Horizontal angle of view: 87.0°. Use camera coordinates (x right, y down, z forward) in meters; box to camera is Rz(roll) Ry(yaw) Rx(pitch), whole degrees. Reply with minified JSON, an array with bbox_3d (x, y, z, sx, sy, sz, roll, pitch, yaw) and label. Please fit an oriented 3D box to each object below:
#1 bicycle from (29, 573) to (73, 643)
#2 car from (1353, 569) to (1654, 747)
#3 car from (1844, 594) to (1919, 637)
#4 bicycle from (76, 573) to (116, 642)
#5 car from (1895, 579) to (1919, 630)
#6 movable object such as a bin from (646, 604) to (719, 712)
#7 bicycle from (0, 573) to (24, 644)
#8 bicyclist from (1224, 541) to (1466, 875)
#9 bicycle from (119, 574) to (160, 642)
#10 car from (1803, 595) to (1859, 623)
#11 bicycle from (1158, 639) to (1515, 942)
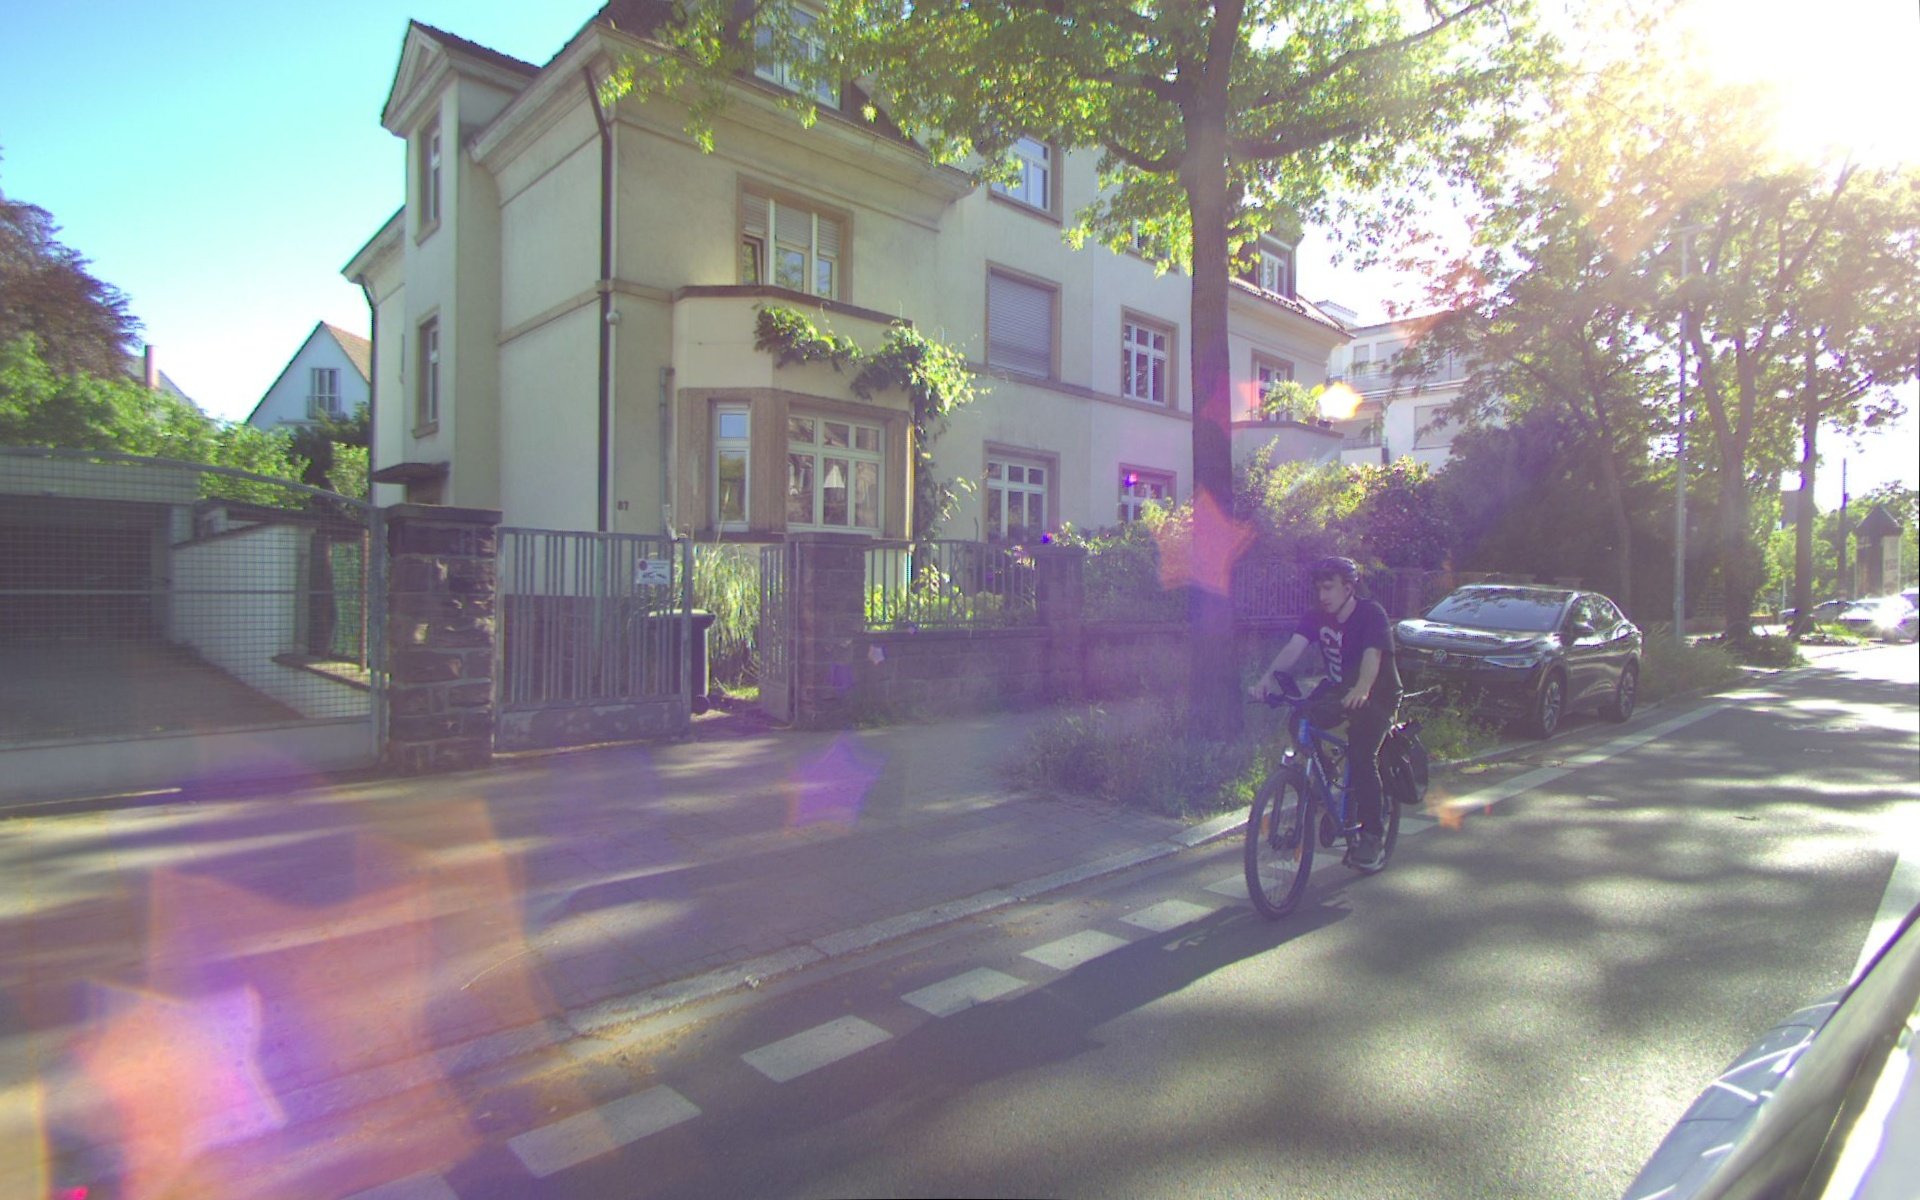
[{"bbox_3d":[-15.275,0.124,17.020,0.512,1.136,1.464,0,0,-41],"label":"bicycle"},{"bbox_3d":[6.622,0.547,12.150,4.101,1.765,1.995,-1,0,-43],"label":"car"},{"bbox_3d":[31.474,0.478,34.248,3.847,1.356,1.719,-1,0,-39],"label":"car"},{"bbox_3d":[-14.850,0.119,17.390,0.512,1.136,1.464,0,0,-41],"label":"bicycle"},{"bbox_3d":[36.660,0.157,37.819,4.171,1.852,1.904,-1,0,-38],"label":"car"},{"bbox_3d":[-2.965,0.589,10.786,0.712,1.068,0.969,0,0,-17],"label":"movable object such as a bin"},{"bbox_3d":[-15.773,0.131,16.638,0.512,1.136,1.464,0,0,-41],"label":"bicycle"},{"bbox_3d":[1.983,0.485,5.220,0.918,1.520,0.823,0,0,-40],"label":"bicyclist"},{"bbox_3d":[-14.366,0.134,17.710,0.512,1.136,1.464,0,0,-41],"label":"bicycle"},{"bbox_3d":[46.917,0.447,54.518,3.930,1.460,1.739,-1,0,-41],"label":"car"},{"bbox_3d":[2.007,0.838,5.234,2.058,1.169,0.831,-1,0,-40],"label":"bicycle"}]
